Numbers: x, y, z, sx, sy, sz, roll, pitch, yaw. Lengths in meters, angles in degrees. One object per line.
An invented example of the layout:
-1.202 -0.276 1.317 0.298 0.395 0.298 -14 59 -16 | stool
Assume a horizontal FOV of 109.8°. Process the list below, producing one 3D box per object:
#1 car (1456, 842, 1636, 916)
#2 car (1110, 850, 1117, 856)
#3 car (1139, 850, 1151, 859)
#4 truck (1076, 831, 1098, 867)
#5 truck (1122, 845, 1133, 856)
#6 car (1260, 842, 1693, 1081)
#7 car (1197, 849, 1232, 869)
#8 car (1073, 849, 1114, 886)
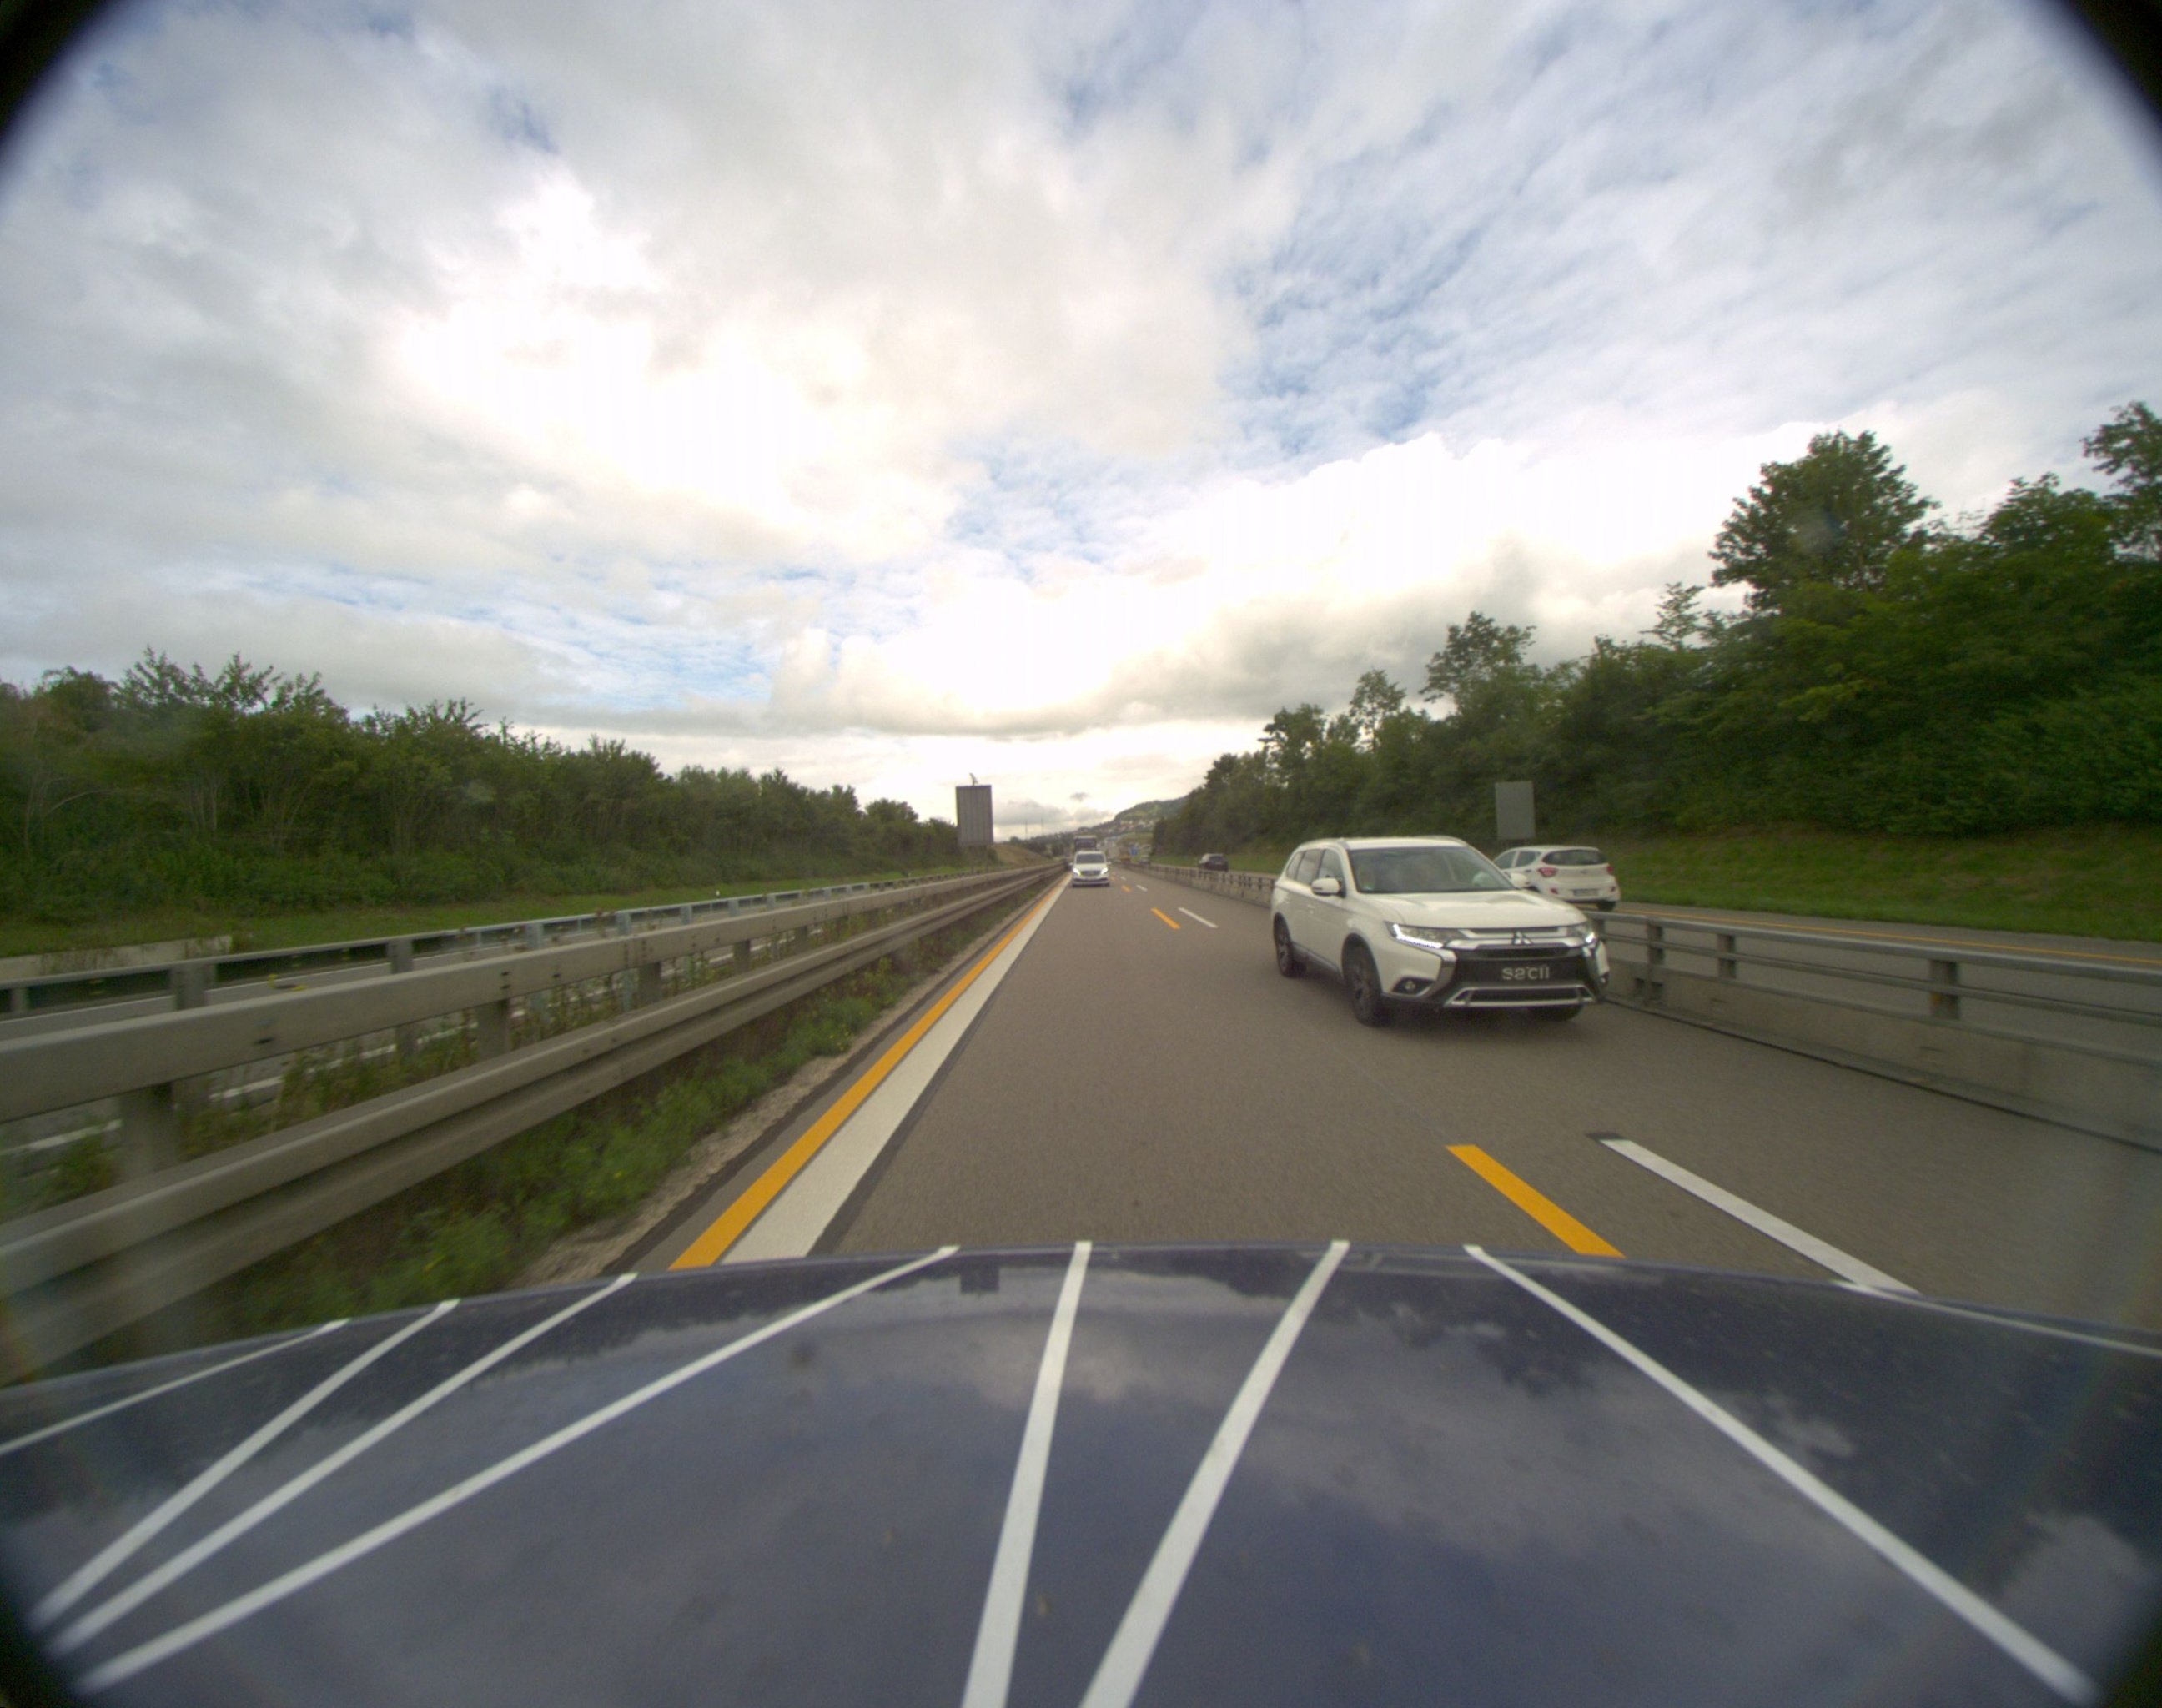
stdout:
10.596 0.521 17.695 1.699 1.445 3.958 -3 0 0 | car
10.121 -0.303 234.173 1.998 1.498 4.832 -2 0 1 | car
11.159 0.106 132.825 1.685 1.541 3.949 -1 0 0 | car
0.762 -0.641 91.563 2.521 4.081 5.685 -2 1 1 | truck
11.805 -0.967 193.846 2.496 2.702 6.667 -2 0 1 | truck
3.293 0.745 7.593 1.998 1.618 4.607 -2 0 2 | car
10.746 0.374 61.490 1.998 1.515 5.024 -2 0 1 | car
0.668 0.649 40.313 1.991 1.787 4.585 -2 0 1 | car
